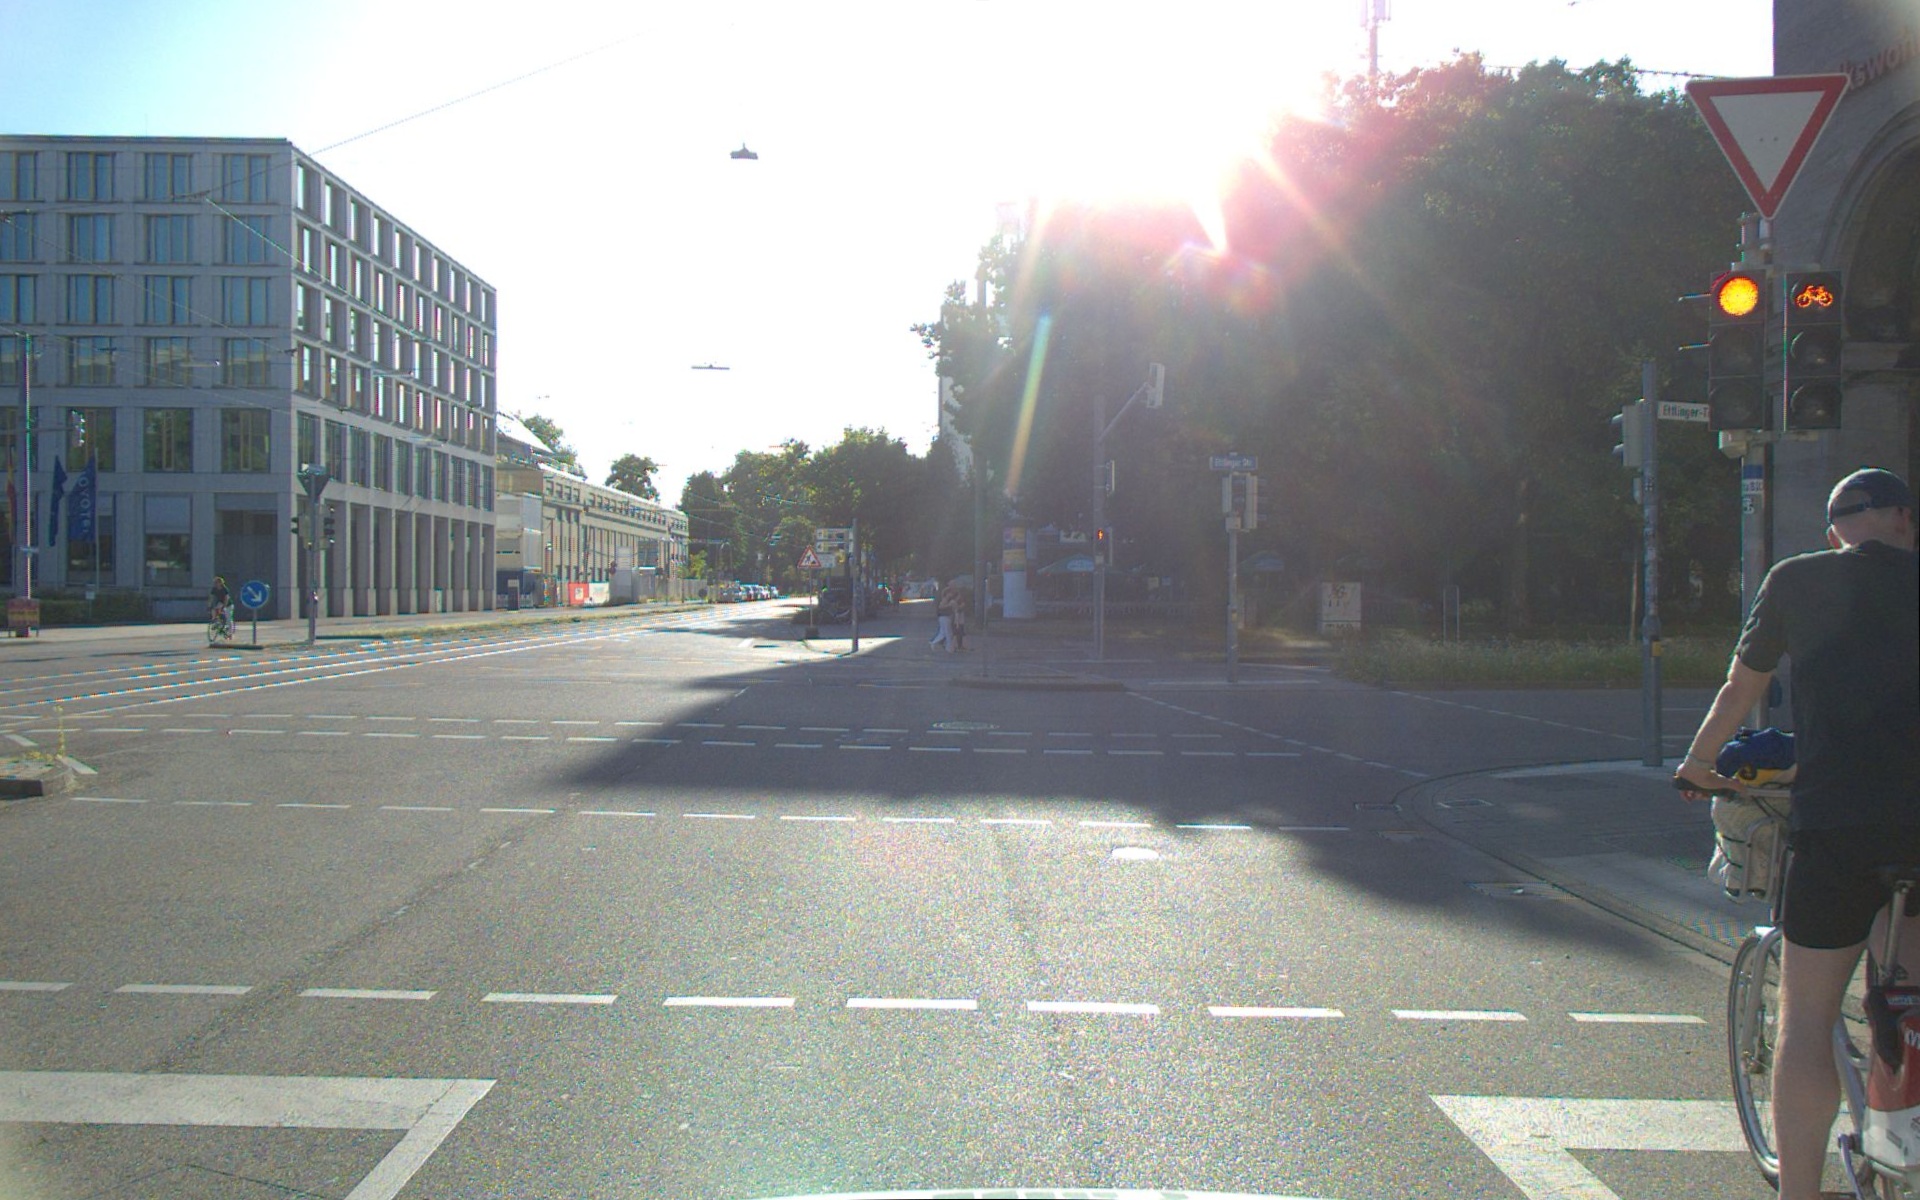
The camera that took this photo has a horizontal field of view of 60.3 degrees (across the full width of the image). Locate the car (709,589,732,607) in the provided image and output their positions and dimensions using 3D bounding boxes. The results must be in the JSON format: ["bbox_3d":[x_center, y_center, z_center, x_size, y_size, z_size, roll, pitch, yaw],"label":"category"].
[{"bbox_3d":[-22.530,-0.233,155.673,1.695,1.682,3.999,0,0,-1],"label":"car"}]

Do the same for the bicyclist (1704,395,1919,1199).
[{"bbox_3d":[2.123,0.428,3.724,0.655,1.707,0.657,0,0,9],"label":"bicyclist"}]

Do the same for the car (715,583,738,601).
[{"bbox_3d":[-22.515,-0.802,159.740,1.695,1.682,3.999,0,0,-1],"label":"car"}]

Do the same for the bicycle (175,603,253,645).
[{"bbox_3d":[-21.262,0.654,47.230,0.857,1.140,3.013,0,0,0],"label":"bicycle"}]

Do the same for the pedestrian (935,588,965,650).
[{"bbox_3d":[-0.266,0.503,44.206,0.779,1.668,0.533,0,0,2],"label":"pedestrian"}]

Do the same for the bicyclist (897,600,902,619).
[{"bbox_3d":[-3.594,0.556,98.232,0.312,1.147,0.291,0,0,-2],"label":"bicyclist"}]

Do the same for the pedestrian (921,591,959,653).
[{"bbox_3d":[-0.525,0.568,43.494,0.964,1.615,0.660,0,-1,1],"label":"pedestrian"}]

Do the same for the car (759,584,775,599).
[{"bbox_3d":[-22.661,-0.984,194.199,1.453,1.780,3.999,0,0,-1],"label":"car"}]

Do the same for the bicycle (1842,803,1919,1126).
[{"bbox_3d":[3.010,1.101,4.332,0.418,0.891,1.951,0,0,2],"label":"bicycle"}]

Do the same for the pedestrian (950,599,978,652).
[{"bbox_3d":[0.108,0.657,43.110,0.737,1.356,0.742,0,0,0],"label":"pedestrian"}]

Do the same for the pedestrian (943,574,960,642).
[{"bbox_3d":[-0.222,0.222,44.776,0.353,1.836,0.507,0,0,11],"label":"pedestrian"}]

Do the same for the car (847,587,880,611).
[{"bbox_3d":[-5.360,-0.062,92.037,1.783,1.301,3.998,0,0,-3],"label":"car"}]

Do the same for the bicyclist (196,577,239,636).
[{"bbox_3d":[-21.246,0.194,47.336,0.857,1.670,0.822,0,0,0],"label":"bicyclist"}]

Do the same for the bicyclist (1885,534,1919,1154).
[{"bbox_3d":[2.890,0.673,4.290,0.511,1.709,0.859,0,0,2],"label":"bicyclist"}]

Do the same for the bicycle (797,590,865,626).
[{"bbox_3d":[-5.228,0.331,67.059,2.688,1.391,0.631,1,-1,10],"label":"bicycle"}]

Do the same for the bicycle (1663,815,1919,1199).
[{"bbox_3d":[2.149,1.104,3.917,0.381,0.921,1.952,0,0,8],"label":"bicycle"}]
